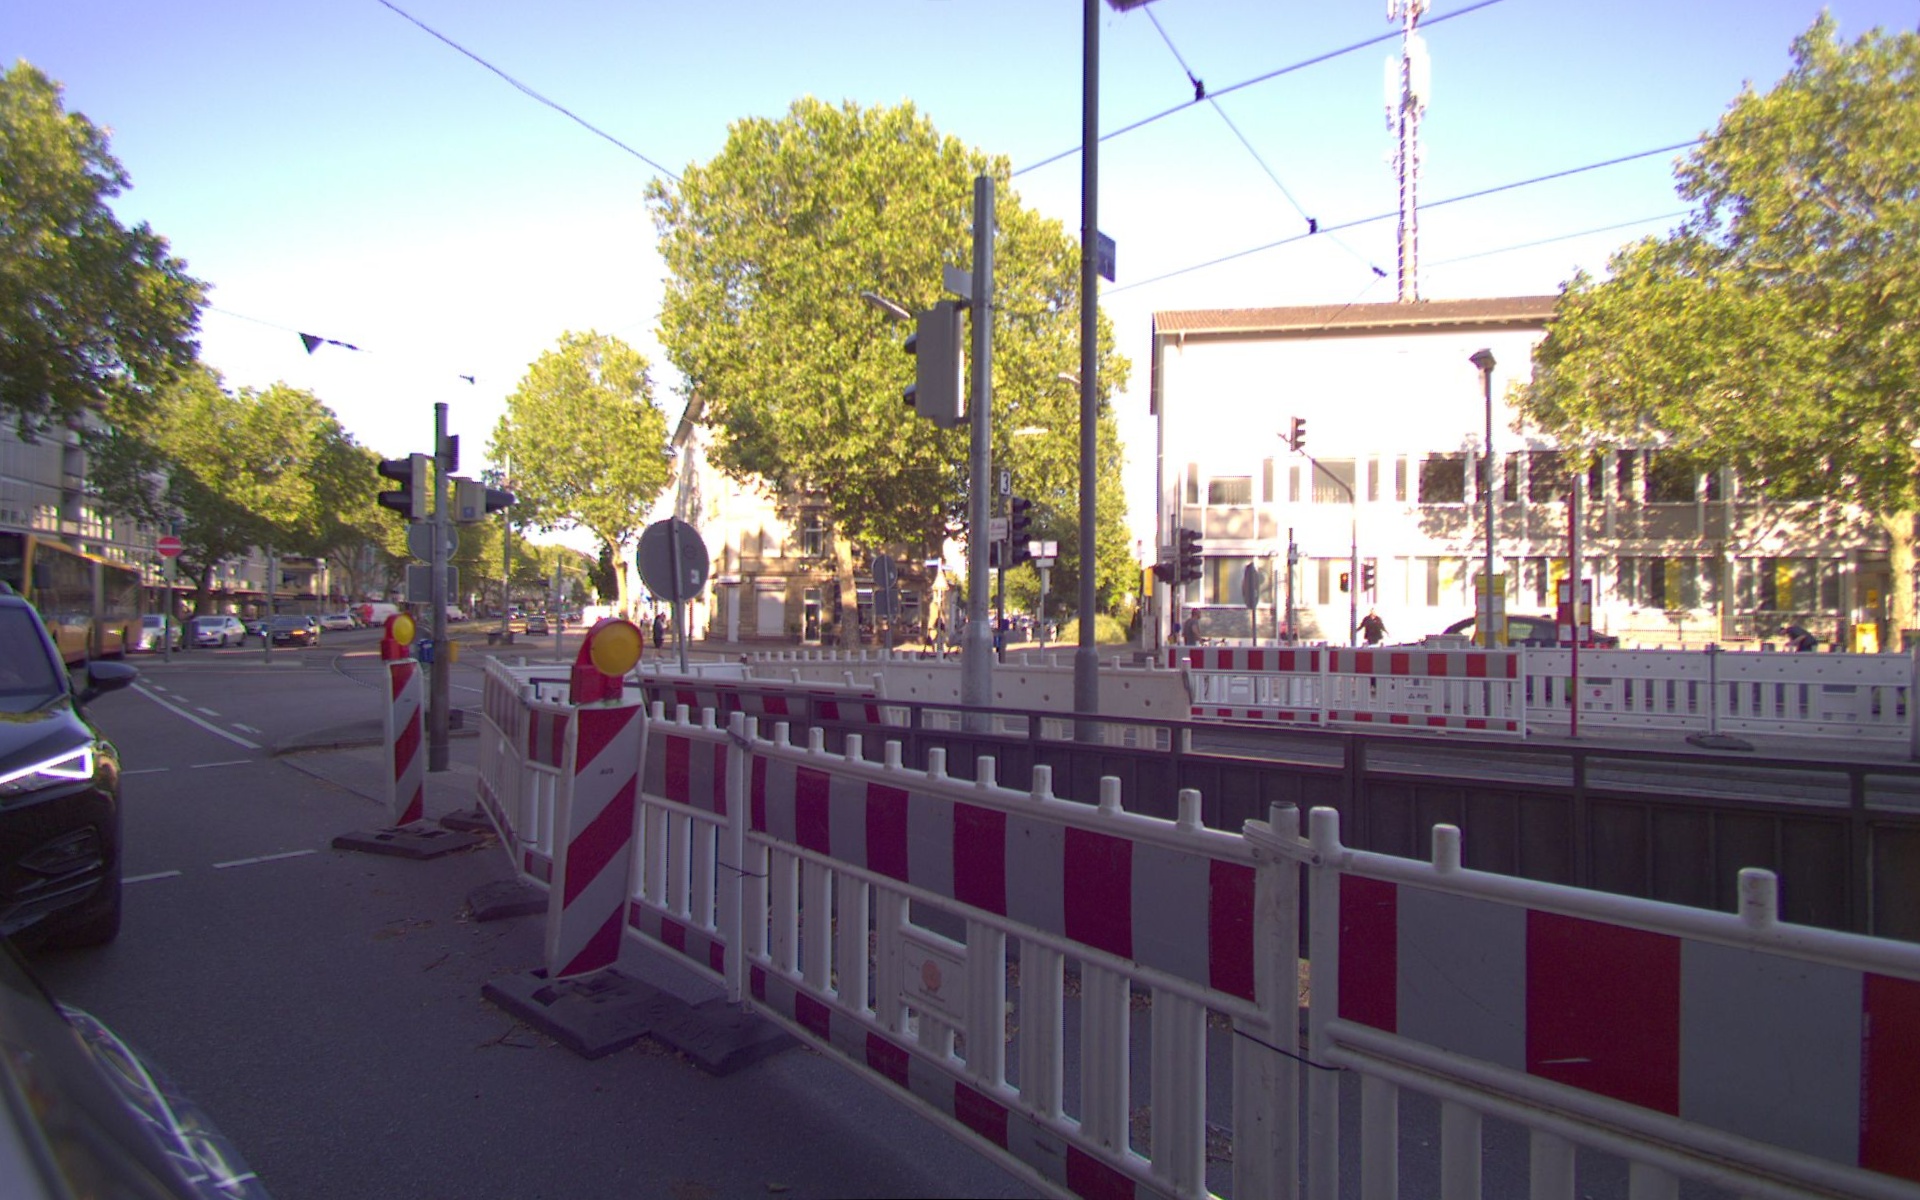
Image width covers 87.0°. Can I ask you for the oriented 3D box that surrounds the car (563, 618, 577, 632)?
[{"bbox_3d":[-55.013,3.512,142.801,1.661,1.866,4.013,1,-1,-20],"label":"car"}]

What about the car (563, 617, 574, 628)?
[{"bbox_3d":[-64.408,3.642,166.469,1.661,1.761,4.013,1,-1,-20],"label":"car"}]

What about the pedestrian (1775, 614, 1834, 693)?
[{"bbox_3d":[20.085,1.254,24.096,0.923,1.847,0.693,-1,-2,28],"label":"pedestrian"}]

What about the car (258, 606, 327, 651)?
[{"bbox_3d":[-31.444,1.325,47.778,1.965,2.029,4.013,1,-1,-22],"label":"car"}]

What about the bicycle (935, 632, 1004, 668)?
[{"bbox_3d":[0.309,1.735,35.788,2.463,1.202,0.841,-1,-2,40],"label":"bicycle"}]

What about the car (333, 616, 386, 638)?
[{"bbox_3d":[-56.531,2.553,95.255,3.938,2.029,2.002,1,-2,-42],"label":"car"}]

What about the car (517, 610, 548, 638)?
[{"bbox_3d":[-32.693,1.847,77.467,1.965,2.029,4.013,1,-1,-20],"label":"car"}]

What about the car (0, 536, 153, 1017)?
[{"bbox_3d":[-5.256,0.643,4.576,3.998,1.719,1.818,-1,-2,41],"label":"car"}]

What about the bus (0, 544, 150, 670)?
[{"bbox_3d":[-25.820,0.258,29.146,2.676,3.130,8.622,1,-2,-31],"label":"bus"}]

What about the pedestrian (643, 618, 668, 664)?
[{"bbox_3d":[-10.424,1.400,34.613,0.594,1.545,0.746,1,-2,-38],"label":"pedestrian"}]

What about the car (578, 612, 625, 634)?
[{"bbox_3d":[-34.261,2.200,96.787,1.990,2.029,3.963,0,-2,27],"label":"car"}]

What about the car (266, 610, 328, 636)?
[{"bbox_3d":[-53.862,1.868,82.257,3.938,2.029,2.002,1,-2,-42],"label":"car"}]

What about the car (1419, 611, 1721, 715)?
[{"bbox_3d":[11.098,1.062,18.580,4.552,1.674,1.974,-1,-2,38],"label":"car"}]

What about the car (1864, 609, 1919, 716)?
[{"bbox_3d":[16.806,0.988,15.694,3.994,1.674,1.974,-1,-2,38],"label":"car"}]

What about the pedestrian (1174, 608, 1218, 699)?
[{"bbox_3d":[4.653,1.038,19.978,0.545,1.760,0.693,1,-2,-24],"label":"pedestrian"}]

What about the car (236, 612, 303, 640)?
[{"bbox_3d":[-50.703,1.922,74.396,3.932,2.029,2.006,1,-2,-32],"label":"car"}]

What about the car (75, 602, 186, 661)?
[{"bbox_3d":[-30.583,1.147,37.469,1.965,2.029,4.111,1,-1,-21],"label":"car"}]

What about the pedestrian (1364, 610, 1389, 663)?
[{"bbox_3d":[12.381,1.070,30.074,0.649,1.564,0.563,-1,-2,28],"label":"pedestrian"}]

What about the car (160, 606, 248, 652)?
[{"bbox_3d":[-34.686,1.338,46.585,1.966,2.029,4.012,1,-1,-17],"label":"car"}]

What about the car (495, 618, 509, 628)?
[{"bbox_3d":[-82.120,4.077,181.416,1.809,1.715,4.143,1,-2,-19],"label":"car"}]

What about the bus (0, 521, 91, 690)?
[{"bbox_3d":[-20.867,0.152,21.684,2.678,3.130,8.641,1,-2,-36],"label":"bus"}]

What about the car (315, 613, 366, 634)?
[{"bbox_3d":[-60.092,2.270,98.203,3.938,2.029,2.002,1,-2,-42],"label":"car"}]

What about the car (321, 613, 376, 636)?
[{"bbox_3d":[-54.619,2.210,90.418,3.938,2.029,2.002,1,-2,-42],"label":"car"}]

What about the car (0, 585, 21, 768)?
[{"bbox_3d":[-10.747,0.696,9.814,4.073,1.656,1.973,-1,-2,41],"label":"car"}]

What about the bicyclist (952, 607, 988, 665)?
[{"bbox_3d":[0.355,1.268,35.757,0.983,2.029,0.844,-1,-2,40],"label":"bicyclist"}]
